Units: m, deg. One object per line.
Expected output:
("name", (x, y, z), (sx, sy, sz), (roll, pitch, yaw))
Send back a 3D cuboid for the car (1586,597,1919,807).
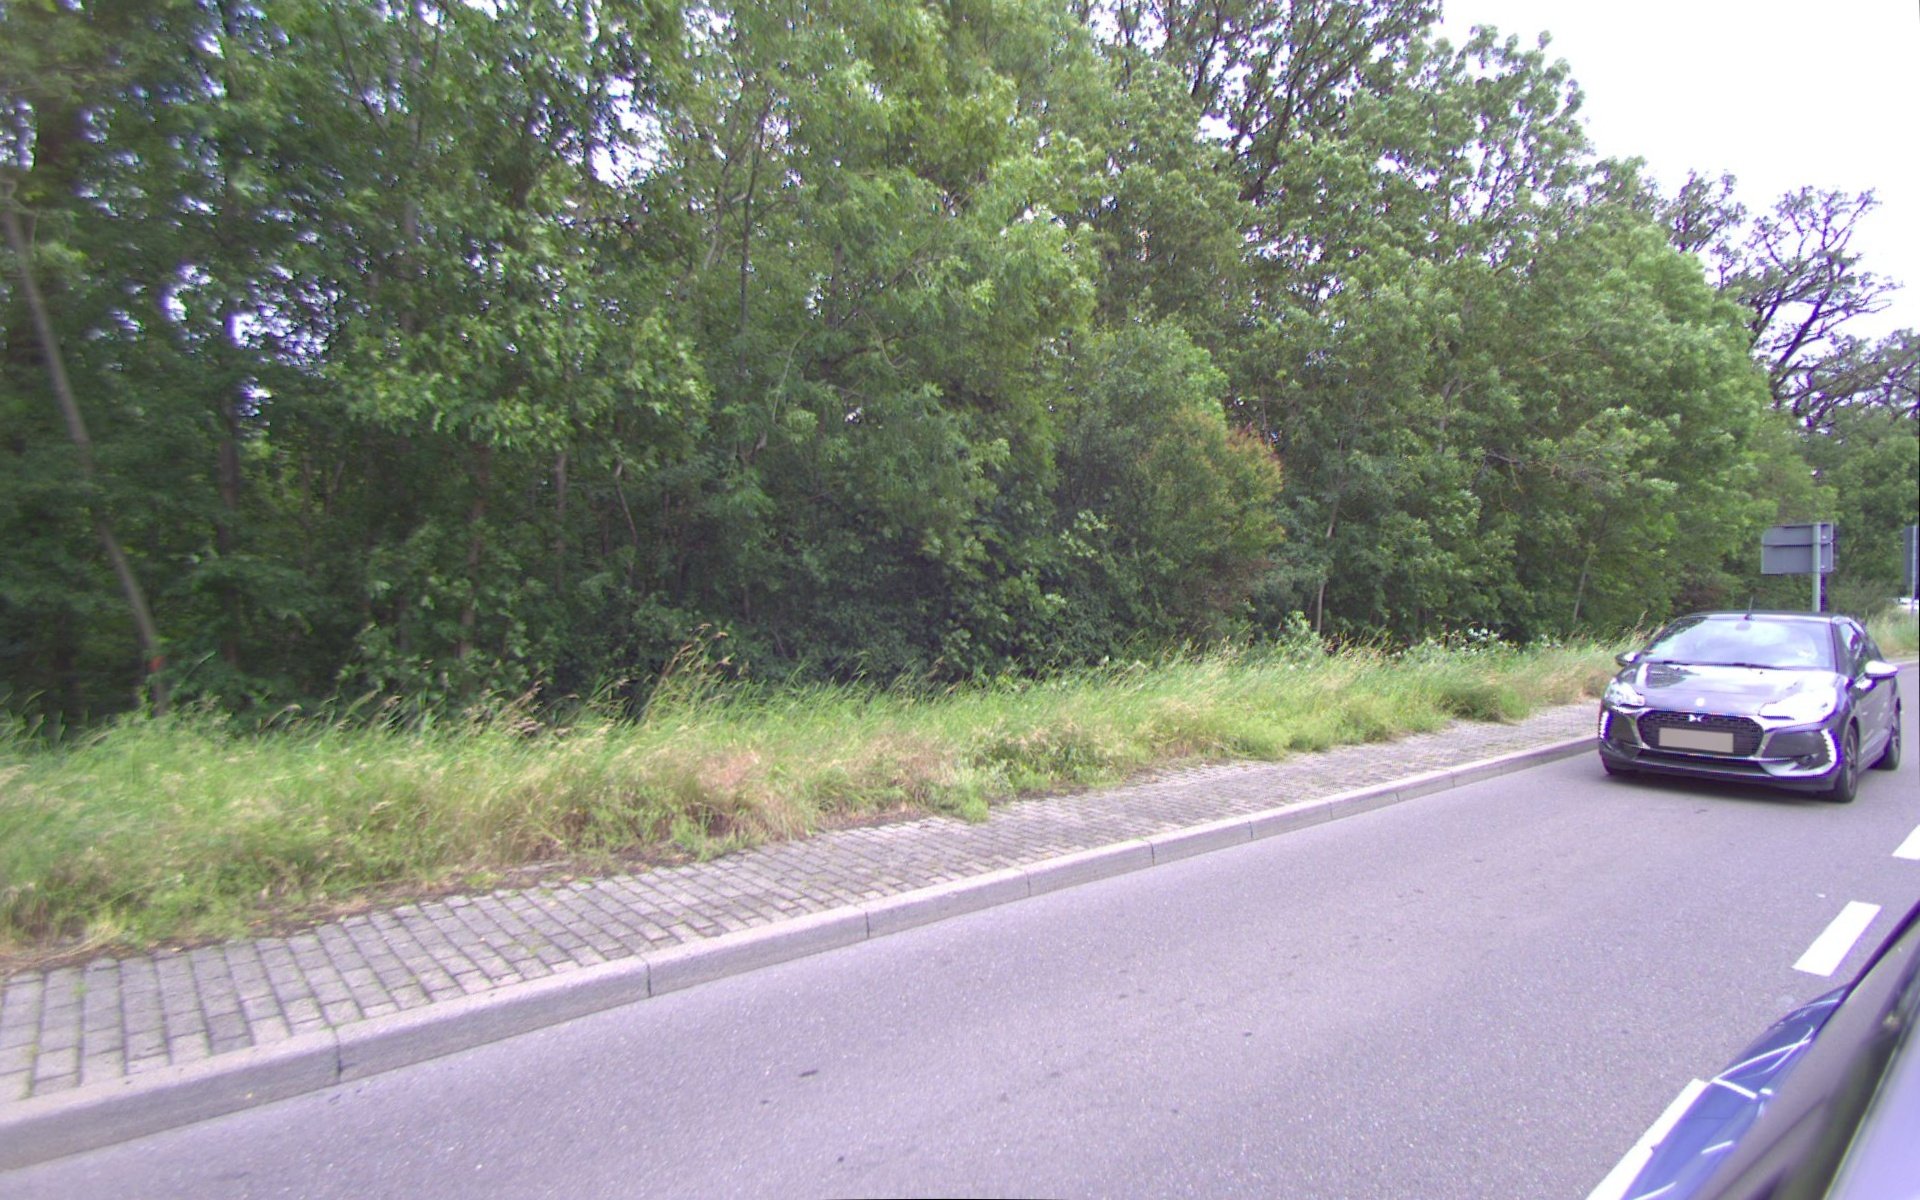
("car", (7.284, 0.718, 9.087), (3.786, 1.476, 1.729), (0, 0, -40))
